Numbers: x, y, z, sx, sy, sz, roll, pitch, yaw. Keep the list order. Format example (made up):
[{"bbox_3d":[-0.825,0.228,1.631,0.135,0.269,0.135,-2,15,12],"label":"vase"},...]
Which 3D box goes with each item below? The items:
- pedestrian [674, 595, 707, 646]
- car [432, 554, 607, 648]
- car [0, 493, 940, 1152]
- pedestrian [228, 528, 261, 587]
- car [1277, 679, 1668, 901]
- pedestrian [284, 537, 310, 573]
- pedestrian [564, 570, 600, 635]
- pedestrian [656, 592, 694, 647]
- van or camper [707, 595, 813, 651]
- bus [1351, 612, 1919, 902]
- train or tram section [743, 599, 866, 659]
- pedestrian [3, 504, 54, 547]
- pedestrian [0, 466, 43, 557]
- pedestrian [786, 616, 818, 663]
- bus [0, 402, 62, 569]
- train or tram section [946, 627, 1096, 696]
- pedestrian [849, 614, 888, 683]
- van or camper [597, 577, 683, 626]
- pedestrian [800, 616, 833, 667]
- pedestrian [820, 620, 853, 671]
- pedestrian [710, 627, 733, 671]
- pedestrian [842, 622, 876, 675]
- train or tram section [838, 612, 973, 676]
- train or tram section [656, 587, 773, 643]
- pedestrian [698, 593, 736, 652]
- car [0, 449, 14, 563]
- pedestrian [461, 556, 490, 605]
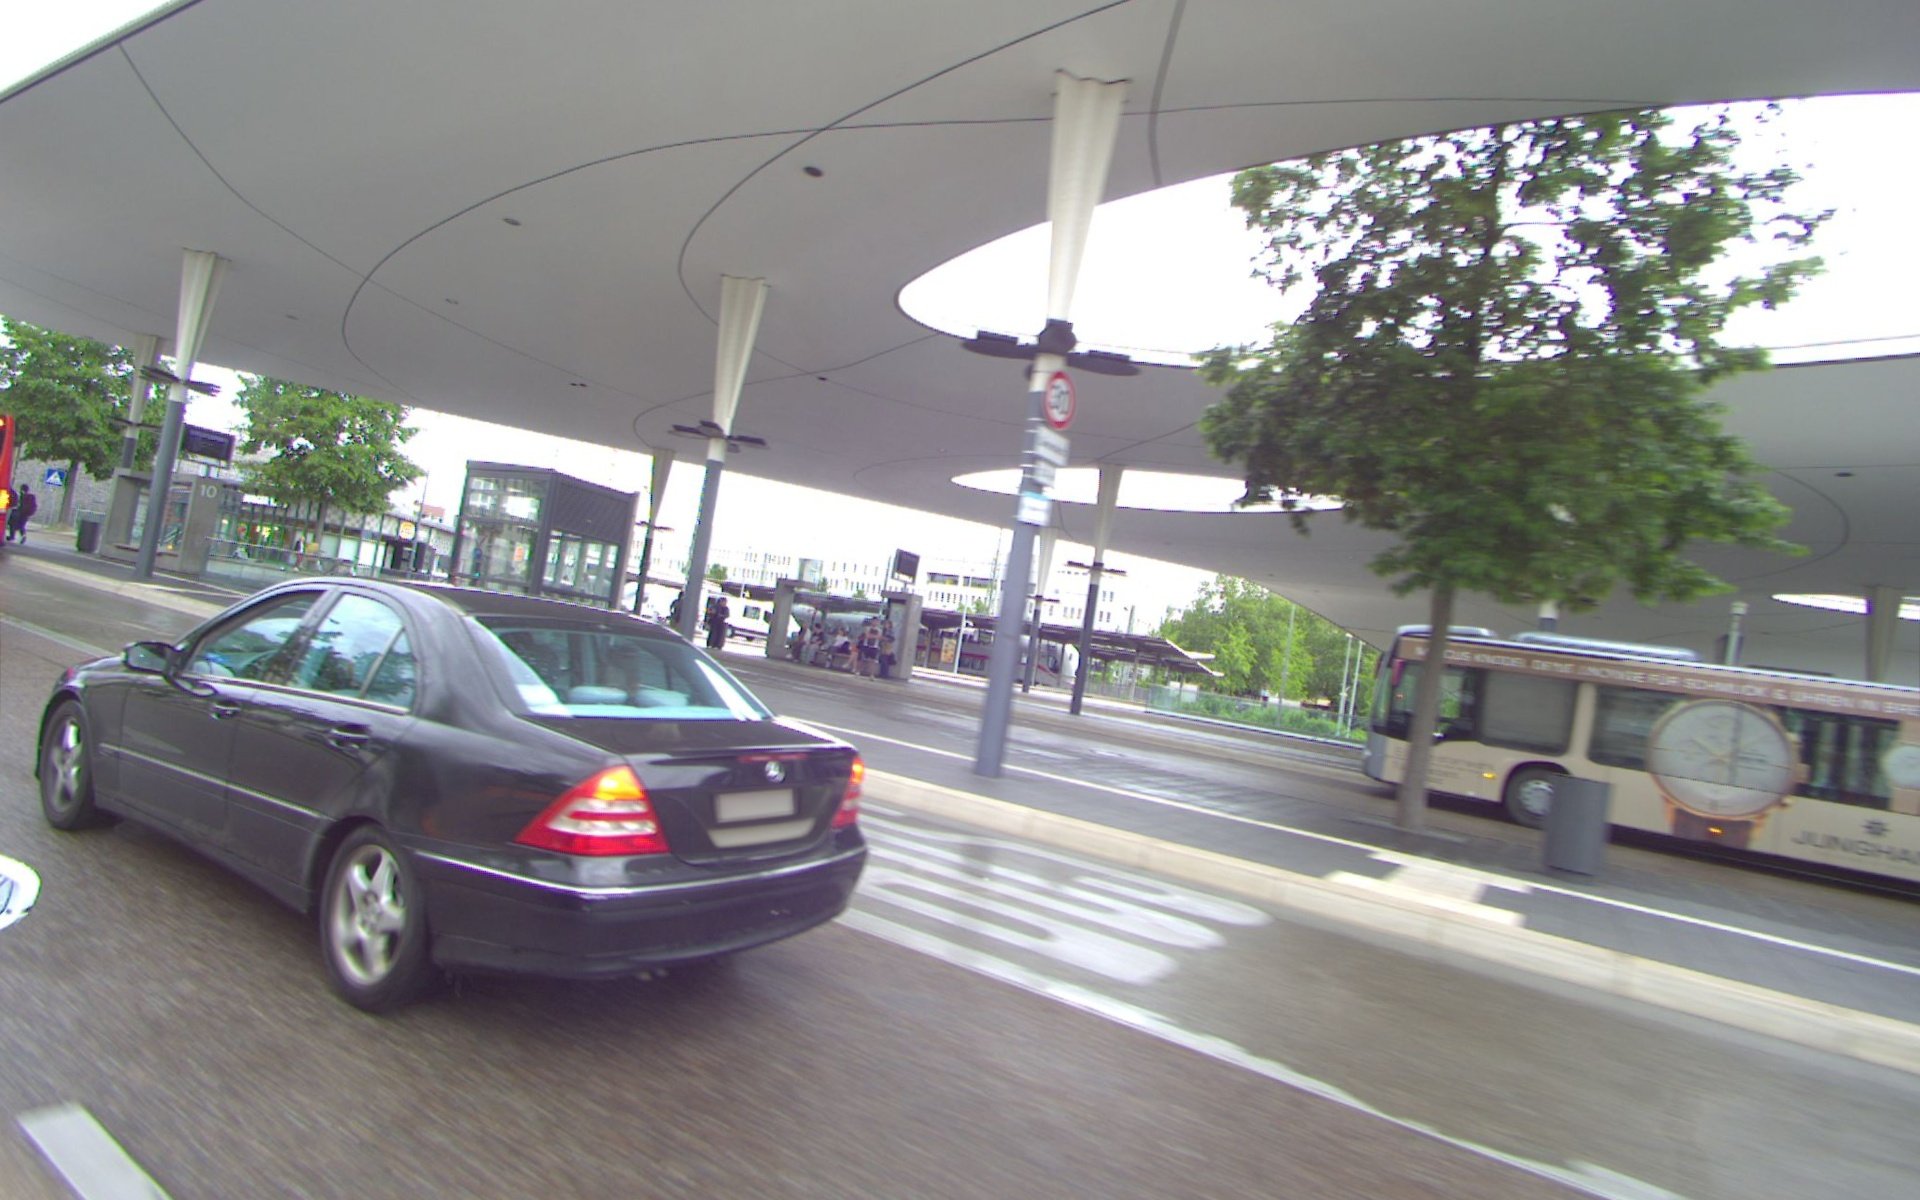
[{"bbox_3d":[-9.212,0.707,34.437,0.759,1.592,0.583,7,-7,0],"label":"pedestrian"},{"bbox_3d":[-10.927,0.004,24.893,4.169,1.680,1.717,7,-4,32],"label":"car"},{"bbox_3d":[-2.405,0.573,4.557,4.231,1.479,1.701,9,-1,31],"label":"car"},{"bbox_3d":[-21.467,-1.267,30.185,0.570,1.697,0.578,8,-2,-31],"label":"pedestrian"},{"bbox_3d":[5.138,1.822,10.308,3.183,1.469,1.652,7,-3,31],"label":"car"},{"bbox_3d":[-31.242,-2.098,47.404,0.664,1.592,0.606,2,-8,38],"label":"pedestrian"},{"bbox_3d":[-12.731,0.099,33.904,0.719,2.031,0.666,11,-8,-31],"label":"pedestrian"},{"bbox_3d":[-8.997,0.612,31.750,0.699,1.597,0.601,6,-5,23],"label":"pedestrian"},{"bbox_3d":[-12.076,1.370,60.582,6.110,2.536,2.099,7,-3,29],"label":"van or camper"},{"bbox_3d":[12.493,2.469,15.003,11.891,3.078,2.727,7,-2,33],"label":"bus"},{"bbox_3d":[-14.468,2.639,93.036,11.424,3.693,3.145,7,-6,32],"label":"train or tram section"},{"bbox_3d":[-25.728,-2.045,27.797,0.912,0.994,0.627,11,-8,-44],"label":"pedestrian"},{"bbox_3d":[-22.890,-2.116,24.262,0.772,2.032,0.777,3,-7,45],"label":"pedestrian"},{"bbox_3d":[-4.963,1.251,31.537,0.603,1.376,0.561,6,-3,29],"label":"pedestrian"},{"bbox_3d":[-24.674,-3.014,23.007,10.701,3.329,3.292,7,-2,33],"label":"bus"},{"bbox_3d":[4.789,4.881,80.875,11.424,3.712,3.145,7,-6,32],"label":"train or tram section"},{"bbox_3d":[-2.445,1.301,26.911,0.603,1.710,0.562,8,-2,26],"label":"pedestrian"},{"bbox_3d":[-19.750,0.117,62.329,2.074,2.294,4.701,7,-3,28],"label":"van or camper"},{"bbox_3d":[-4.441,1.294,31.214,0.603,1.460,0.561,6,-2,29],"label":"pedestrian"},{"bbox_3d":[-3.797,1.403,30.866,0.603,1.460,0.561,6,-2,29],"label":"pedestrian"},{"bbox_3d":[-8.022,1.658,33.791,0.469,1.403,0.560,10,-7,-22],"label":"pedestrian"},{"bbox_3d":[-3.025,1.458,30.198,0.625,1.460,0.561,6,-2,29],"label":"pedestrian"},{"bbox_3d":[-4.823,3.750,86.984,11.424,3.715,3.145,7,-6,32],"label":"train or tram section"},{"bbox_3d":[-24.356,1.422,99.345,12.120,3.693,3.145,7,-6,32],"label":"train or tram section"},{"bbox_3d":[-7.731,0.716,31.996,0.707,1.730,0.757,4,4,-45],"label":"pedestrian"},{"bbox_3d":[-12.167,-0.889,10.607,4.793,1.898,1.960,7,-1,33],"label":"car"},{"bbox_3d":[-17.505,-0.693,36.369,0.573,1.592,0.772,9,-7,-17],"label":"pedestrian"}]
